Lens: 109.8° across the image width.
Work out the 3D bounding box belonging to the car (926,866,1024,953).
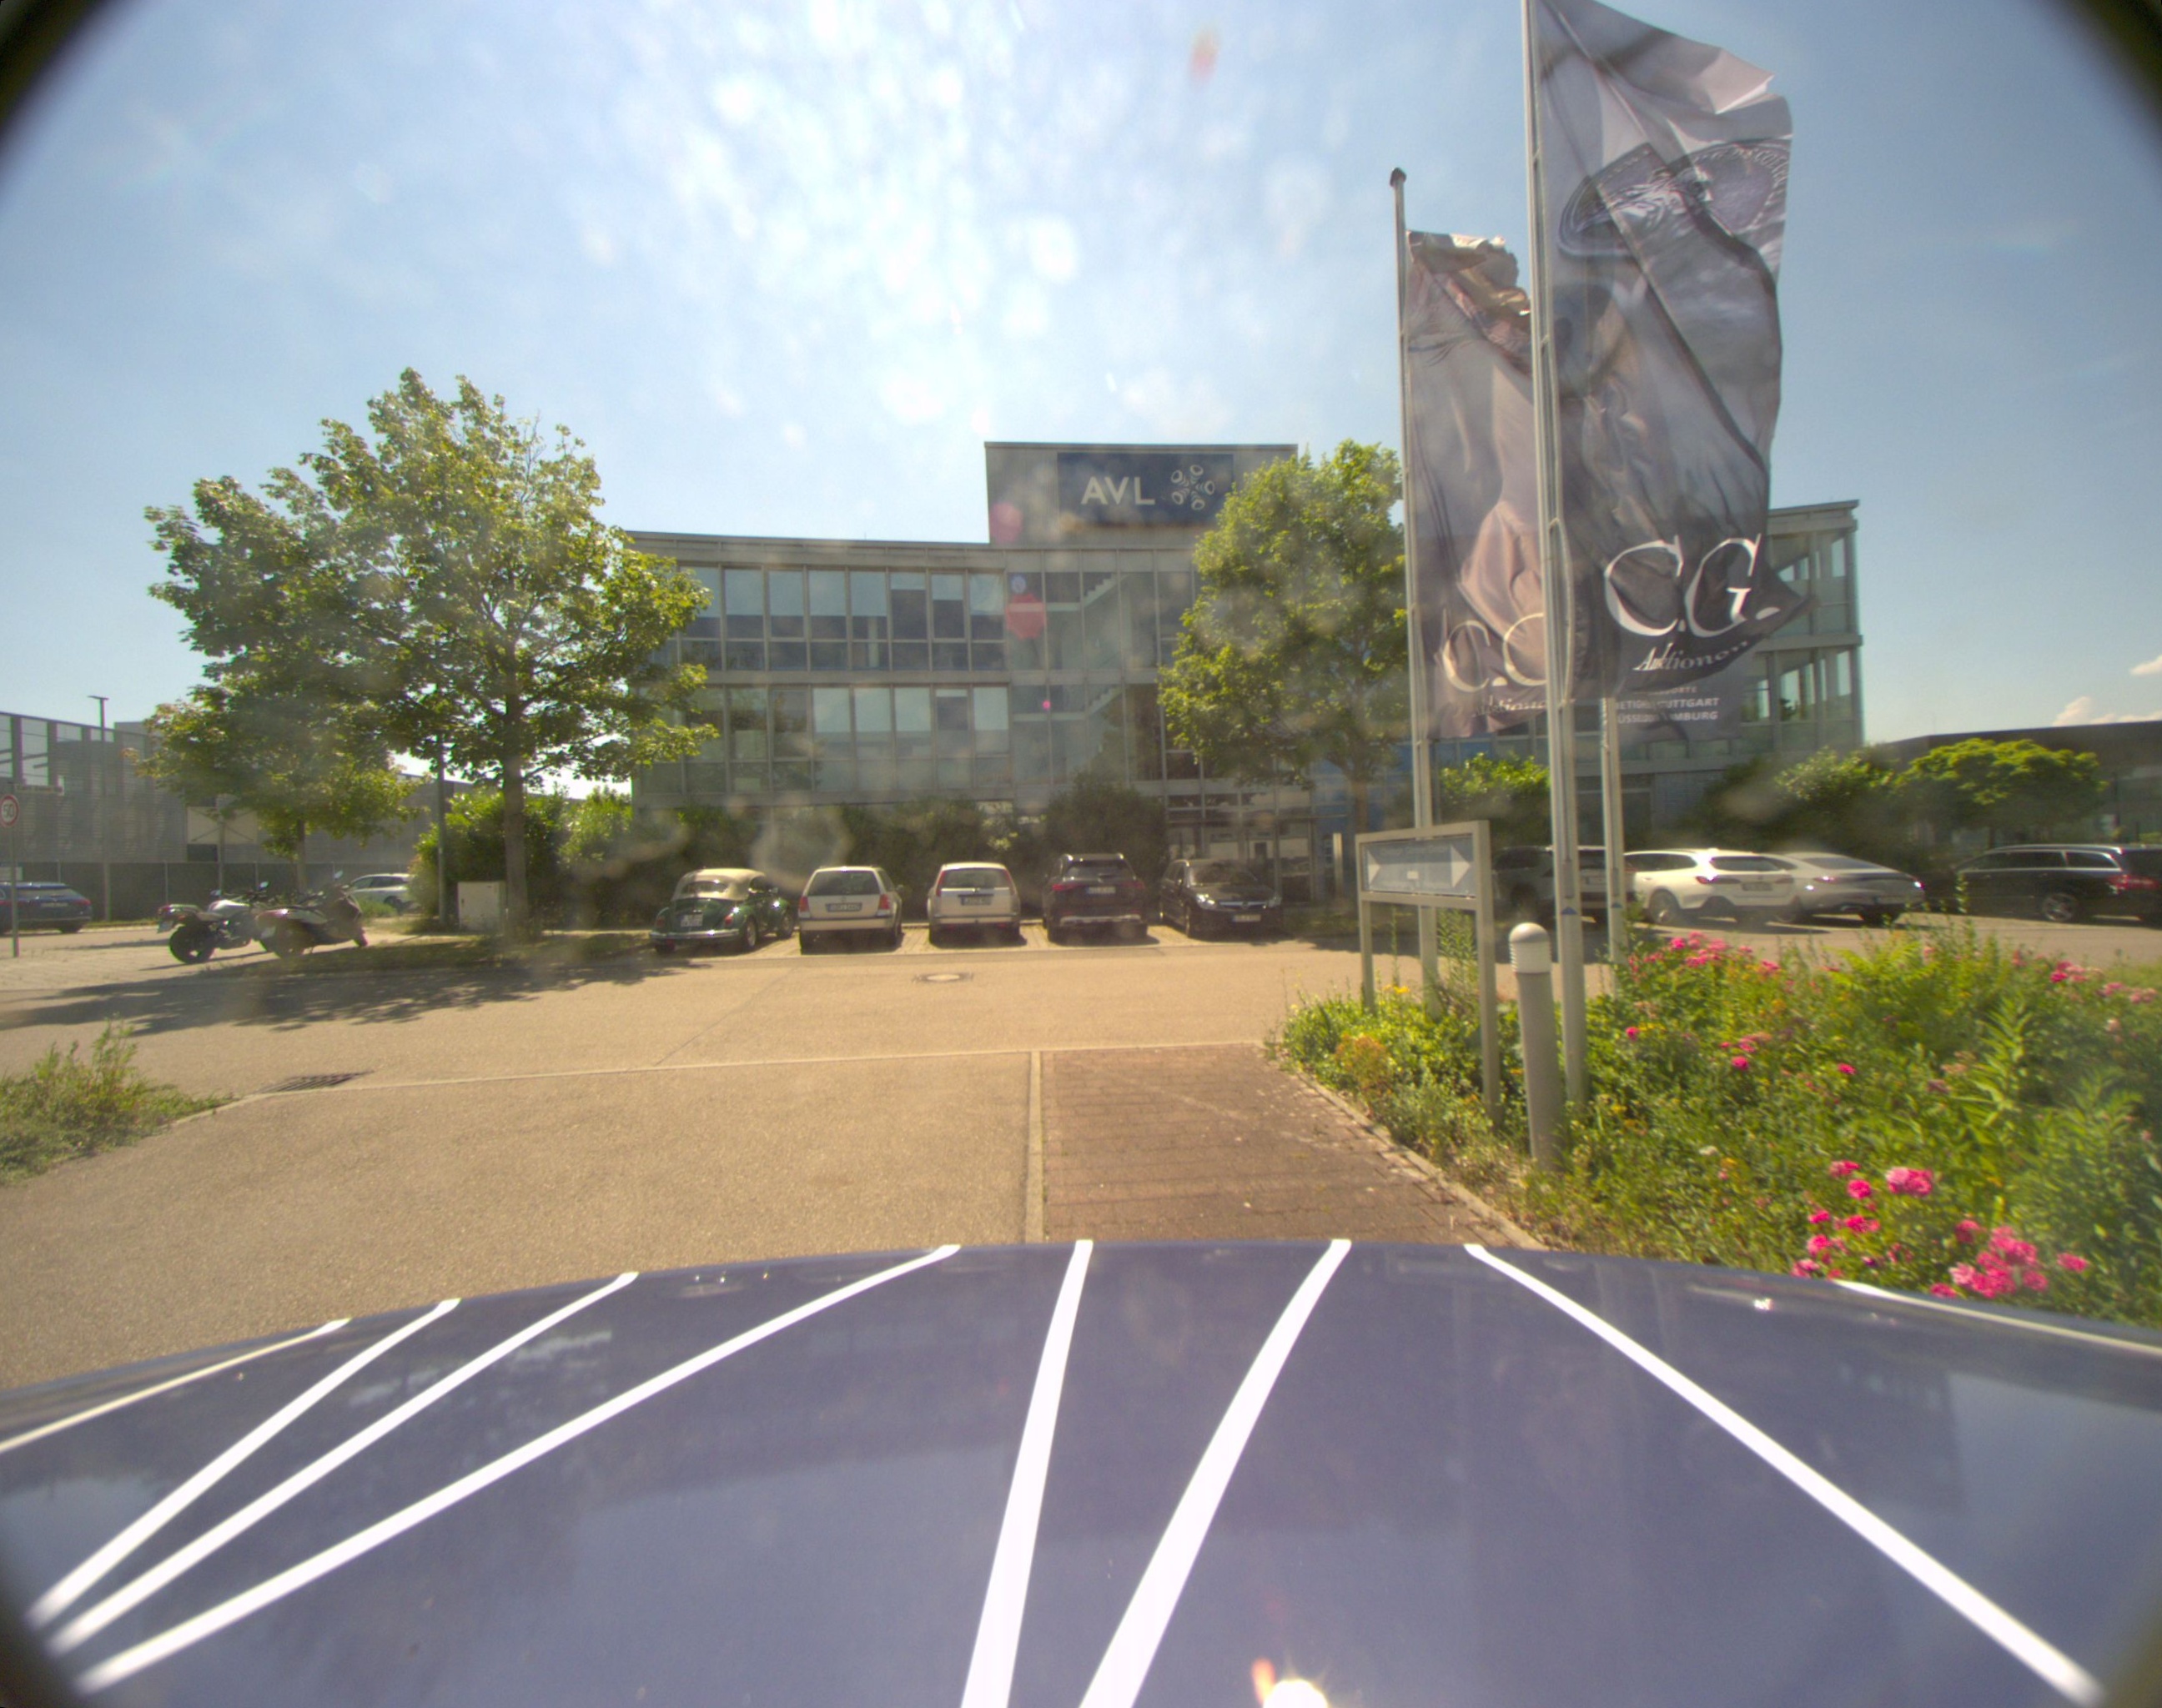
[{"bbox_3d":[-2.227,1.020,15.391,1.733,1.443,3.597,-1,1,-11],"label":"car"}]

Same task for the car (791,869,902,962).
[{"bbox_3d":[-4.358,1.072,14.597,1.643,1.443,3.597,-1,0,-11],"label":"car"}]

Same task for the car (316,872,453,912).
[{"bbox_3d":[-27.988,1.521,30.587,4.407,1.467,1.782,-1,0,12],"label":"car"}]

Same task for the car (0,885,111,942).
[{"bbox_3d":[-29.807,1.632,20.904,4.440,1.401,1.861,-2,0,9],"label":"car"}]

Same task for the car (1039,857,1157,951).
[{"bbox_3d":[0.203,0.900,15.425,1.939,1.593,3.857,-1,1,-5],"label":"car"}]

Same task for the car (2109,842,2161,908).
[{"bbox_3d":[24.341,0.487,15.344,1.750,1.416,4.172,-1,1,6],"label":"car"}]

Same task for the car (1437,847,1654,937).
[{"bbox_3d":[9.572,0.701,16.123,1.833,1.628,4.170,-1,0,-4],"label":"car"}]

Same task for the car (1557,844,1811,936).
[{"bbox_3d":[12.192,0.647,15.789,1.832,1.628,4.170,-1,0,-2],"label":"car"}]

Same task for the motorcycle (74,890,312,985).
[{"bbox_3d":[-14.806,1.321,12.867,0.874,1.252,2.834,-1,1,-6],"label":"motorcycle"}]

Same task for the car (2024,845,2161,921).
[{"bbox_3d":[22.010,0.559,15.288,1.749,1.416,4.176,-1,1,17],"label":"car"}]

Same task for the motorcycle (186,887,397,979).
[{"bbox_3d":[-13.498,1.281,13.182,0.874,1.252,2.834,-1,1,-6],"label":"motorcycle"}]

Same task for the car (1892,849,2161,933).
[{"bbox_3d":[19.257,0.629,15.215,1.751,1.416,4.172,-1,1,4],"label":"car"}]

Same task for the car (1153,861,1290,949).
[{"bbox_3d":[2.715,0.926,15.762,1.730,1.475,4.395,-2,0,-4],"label":"car"}]

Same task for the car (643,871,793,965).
[{"bbox_3d":[-6.627,1.093,14.234,1.523,1.437,3.416,-1,0,-7],"label":"car"}]

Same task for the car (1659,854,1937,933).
[{"bbox_3d":[14.597,0.711,15.862,1.752,1.392,4.170,-1,0,-2],"label":"car"}]
